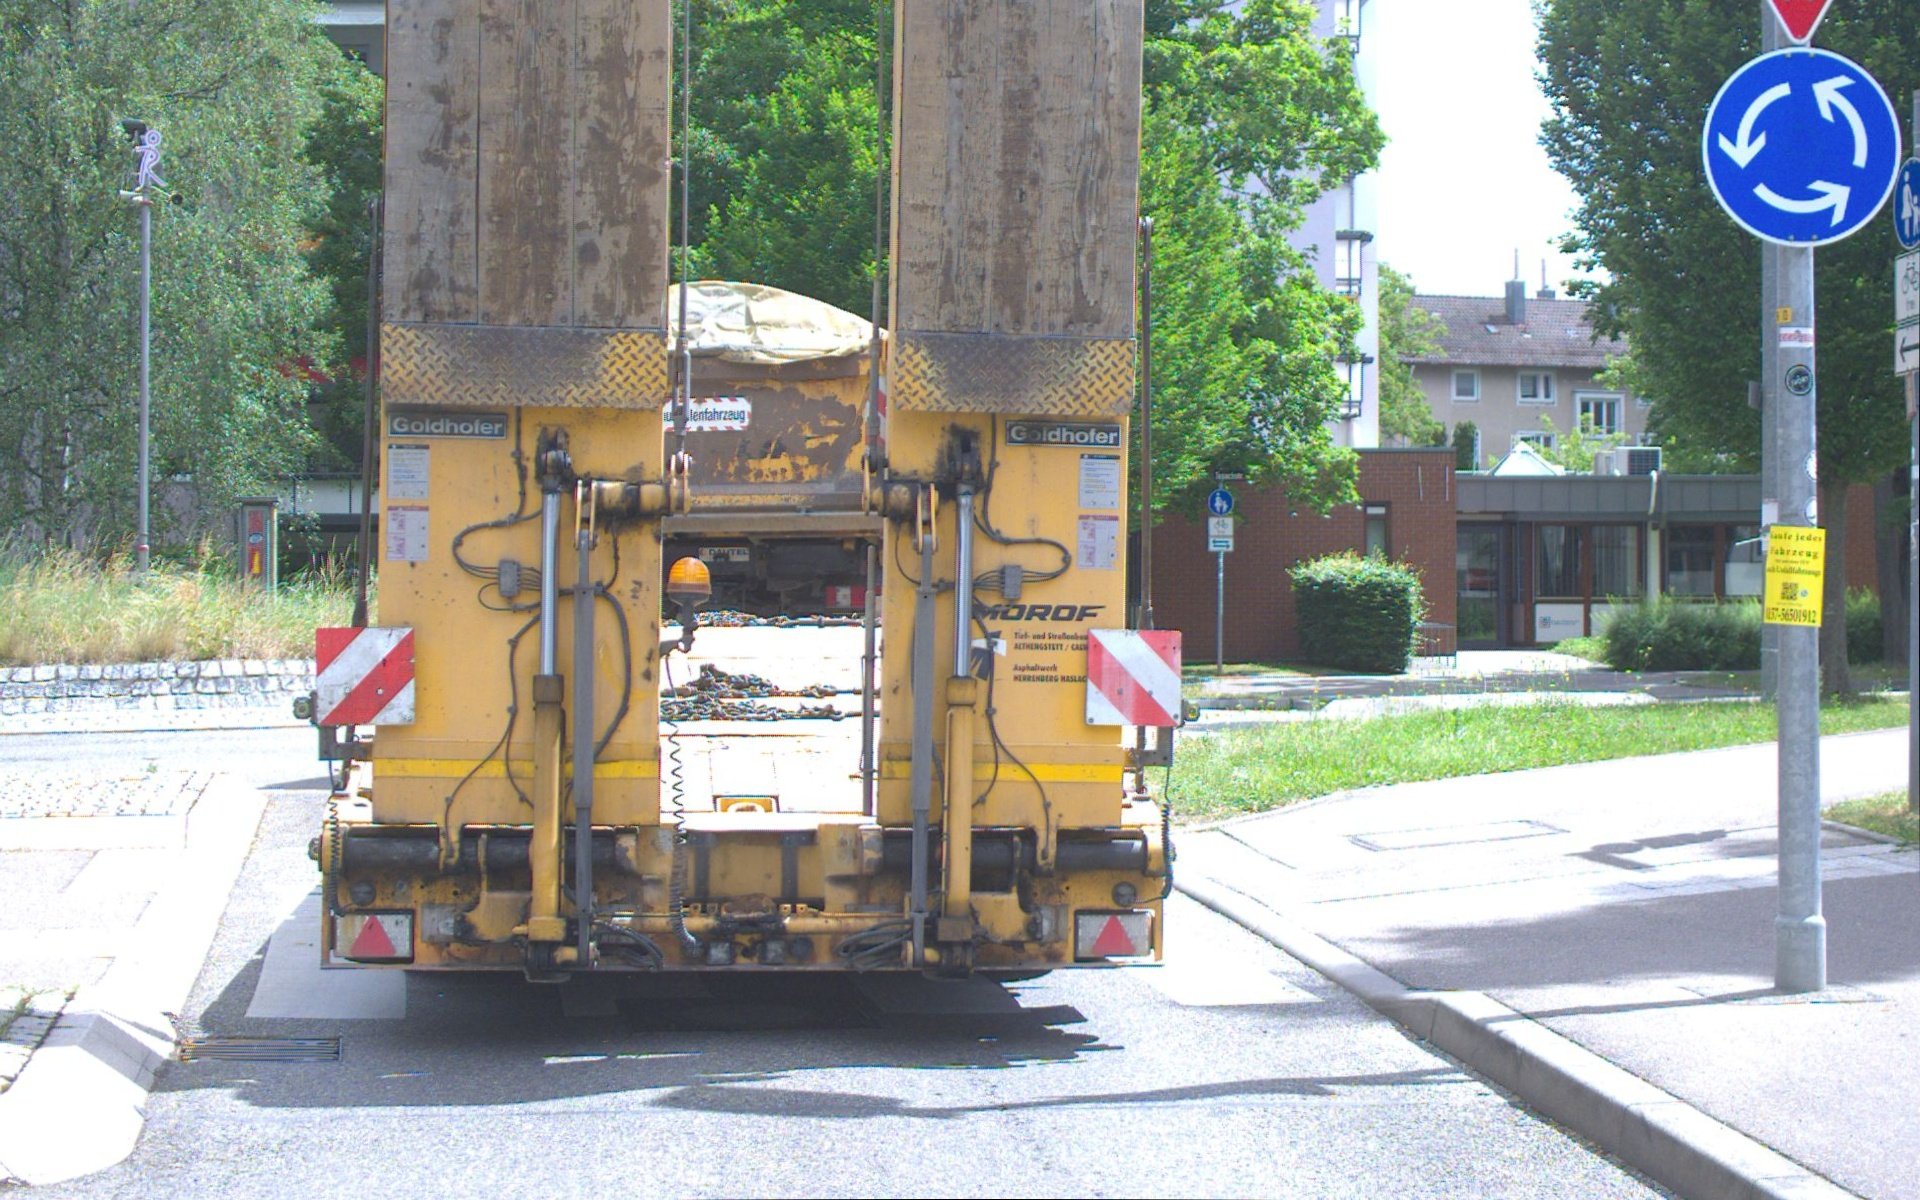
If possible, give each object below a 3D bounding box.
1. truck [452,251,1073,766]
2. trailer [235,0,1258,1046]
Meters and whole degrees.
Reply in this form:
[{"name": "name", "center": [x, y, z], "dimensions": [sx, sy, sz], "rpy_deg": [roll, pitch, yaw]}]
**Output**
[{"name": "truck", "center": [-1.067, -0.674, 24.875], "dimensions": [2.989, 3.024, 8.484], "rpy_deg": [2, 2, 7]}, {"name": "trailer", "center": [-0.997, -0.525, 15.258], "dimensions": [2.863, 3.361, 10.843], "rpy_deg": [1, 1, -4]}]
